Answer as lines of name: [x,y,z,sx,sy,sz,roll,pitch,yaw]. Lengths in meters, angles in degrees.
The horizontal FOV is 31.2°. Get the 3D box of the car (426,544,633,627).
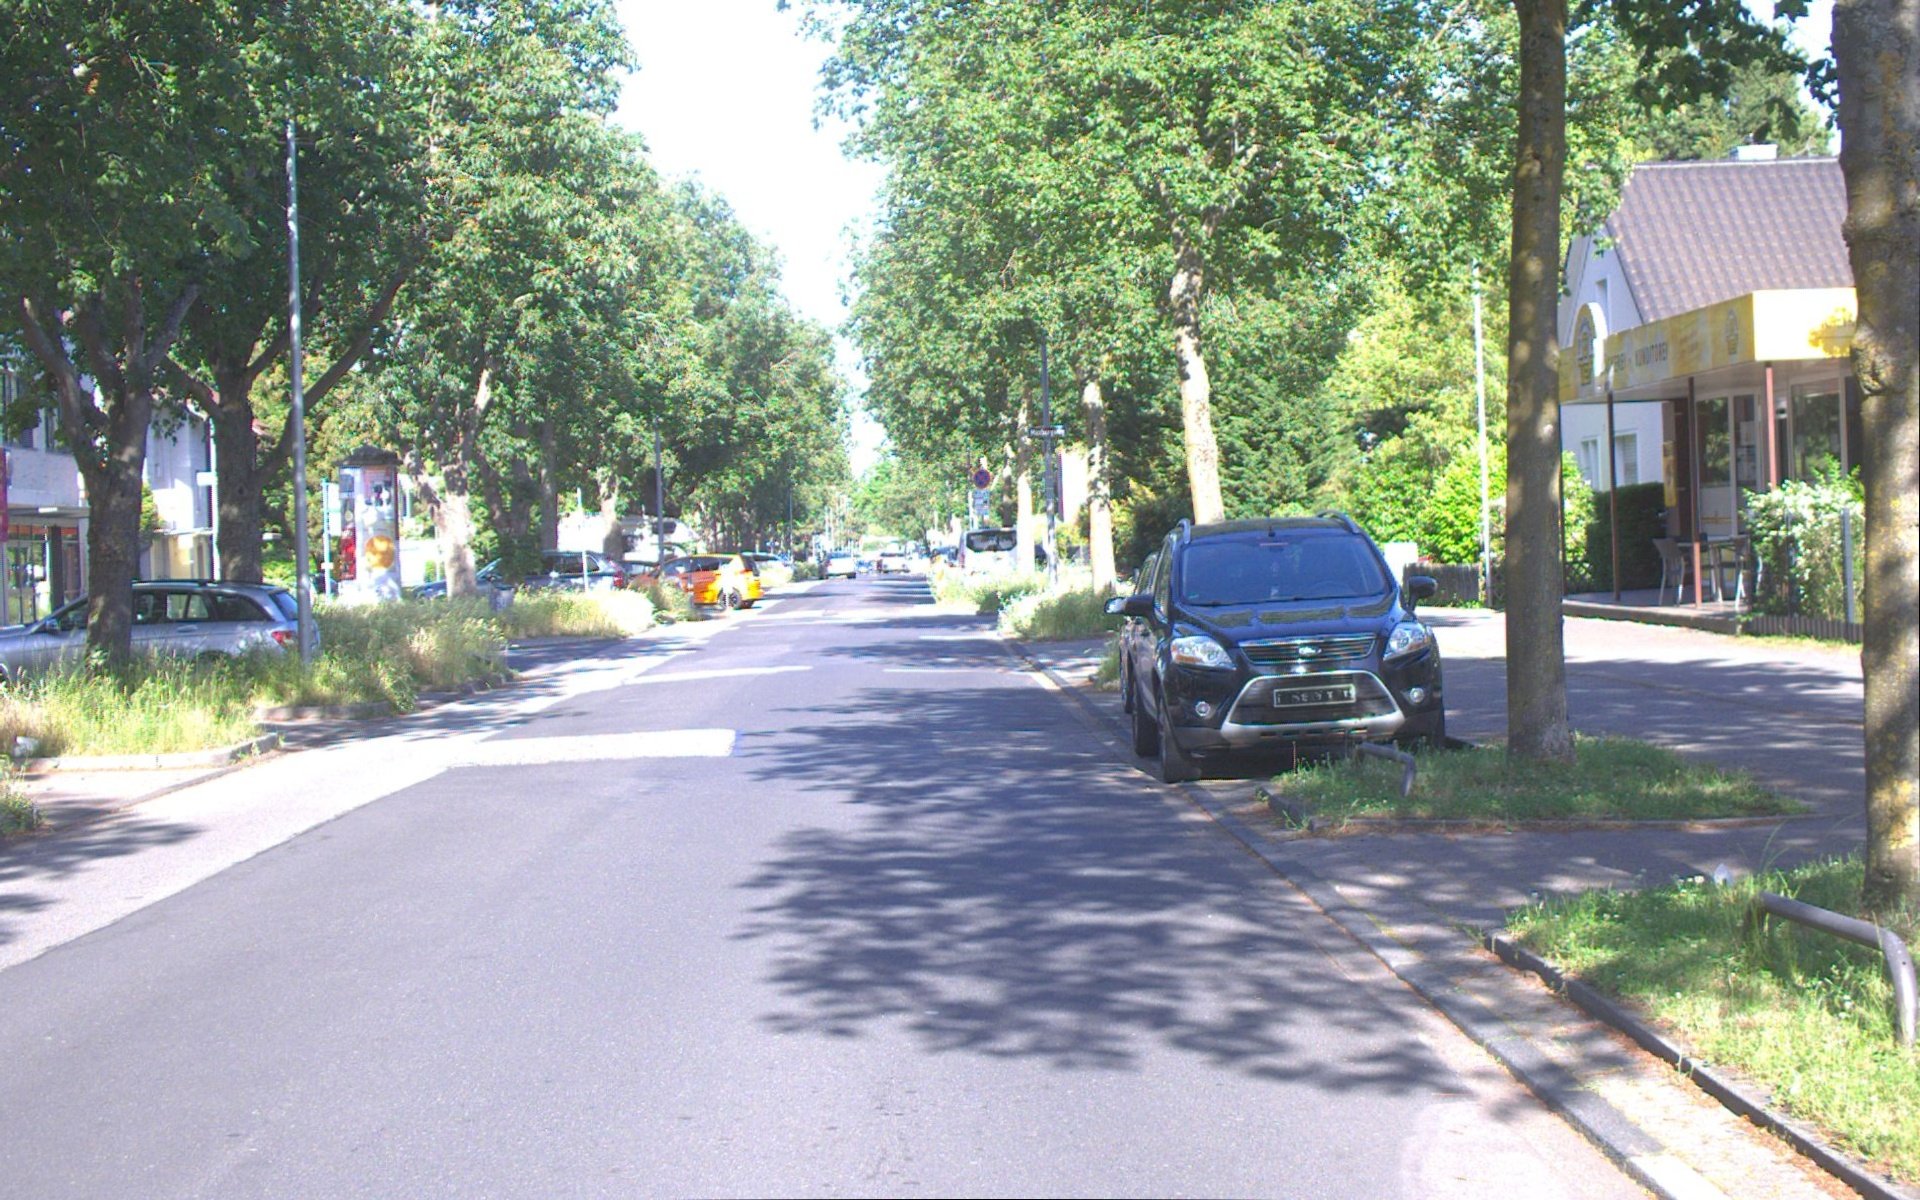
car: [-9.668,-0.333,77.465,4.545,1.759,2.001,0,2,-5]

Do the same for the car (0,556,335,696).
car: [-9.691,0.285,39.874,4.554,1.506,1.841,0,2,-1]

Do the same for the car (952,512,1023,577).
car: [0.748,-1.553,96.401,1.902,1.768,4.301,0,1,0]

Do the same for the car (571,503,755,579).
car: [-9.072,-1.831,105.371,5.498,2.240,2.517,0,2,-2]

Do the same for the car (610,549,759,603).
car: [-7.656,-0.676,95.675,3.876,1.474,1.894,1,1,5]

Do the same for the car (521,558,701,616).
car: [-8.461,-0.320,83.506,4.286,1.310,1.909,0,2,-5]

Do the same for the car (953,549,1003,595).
car: [0.683,-1.112,134.803,1.902,1.768,4.301,0,1,0]

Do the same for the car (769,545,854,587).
car: [-7.271,-1.668,168.574,3.987,2.006,2.000,0,2,4]

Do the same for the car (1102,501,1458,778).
car: [2.084,0.233,23.600,1.853,1.620,4.470,-3,0,-1]

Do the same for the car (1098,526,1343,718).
car: [2.211,0.164,30.093,1.697,1.474,3.888,-3,1,-1]
